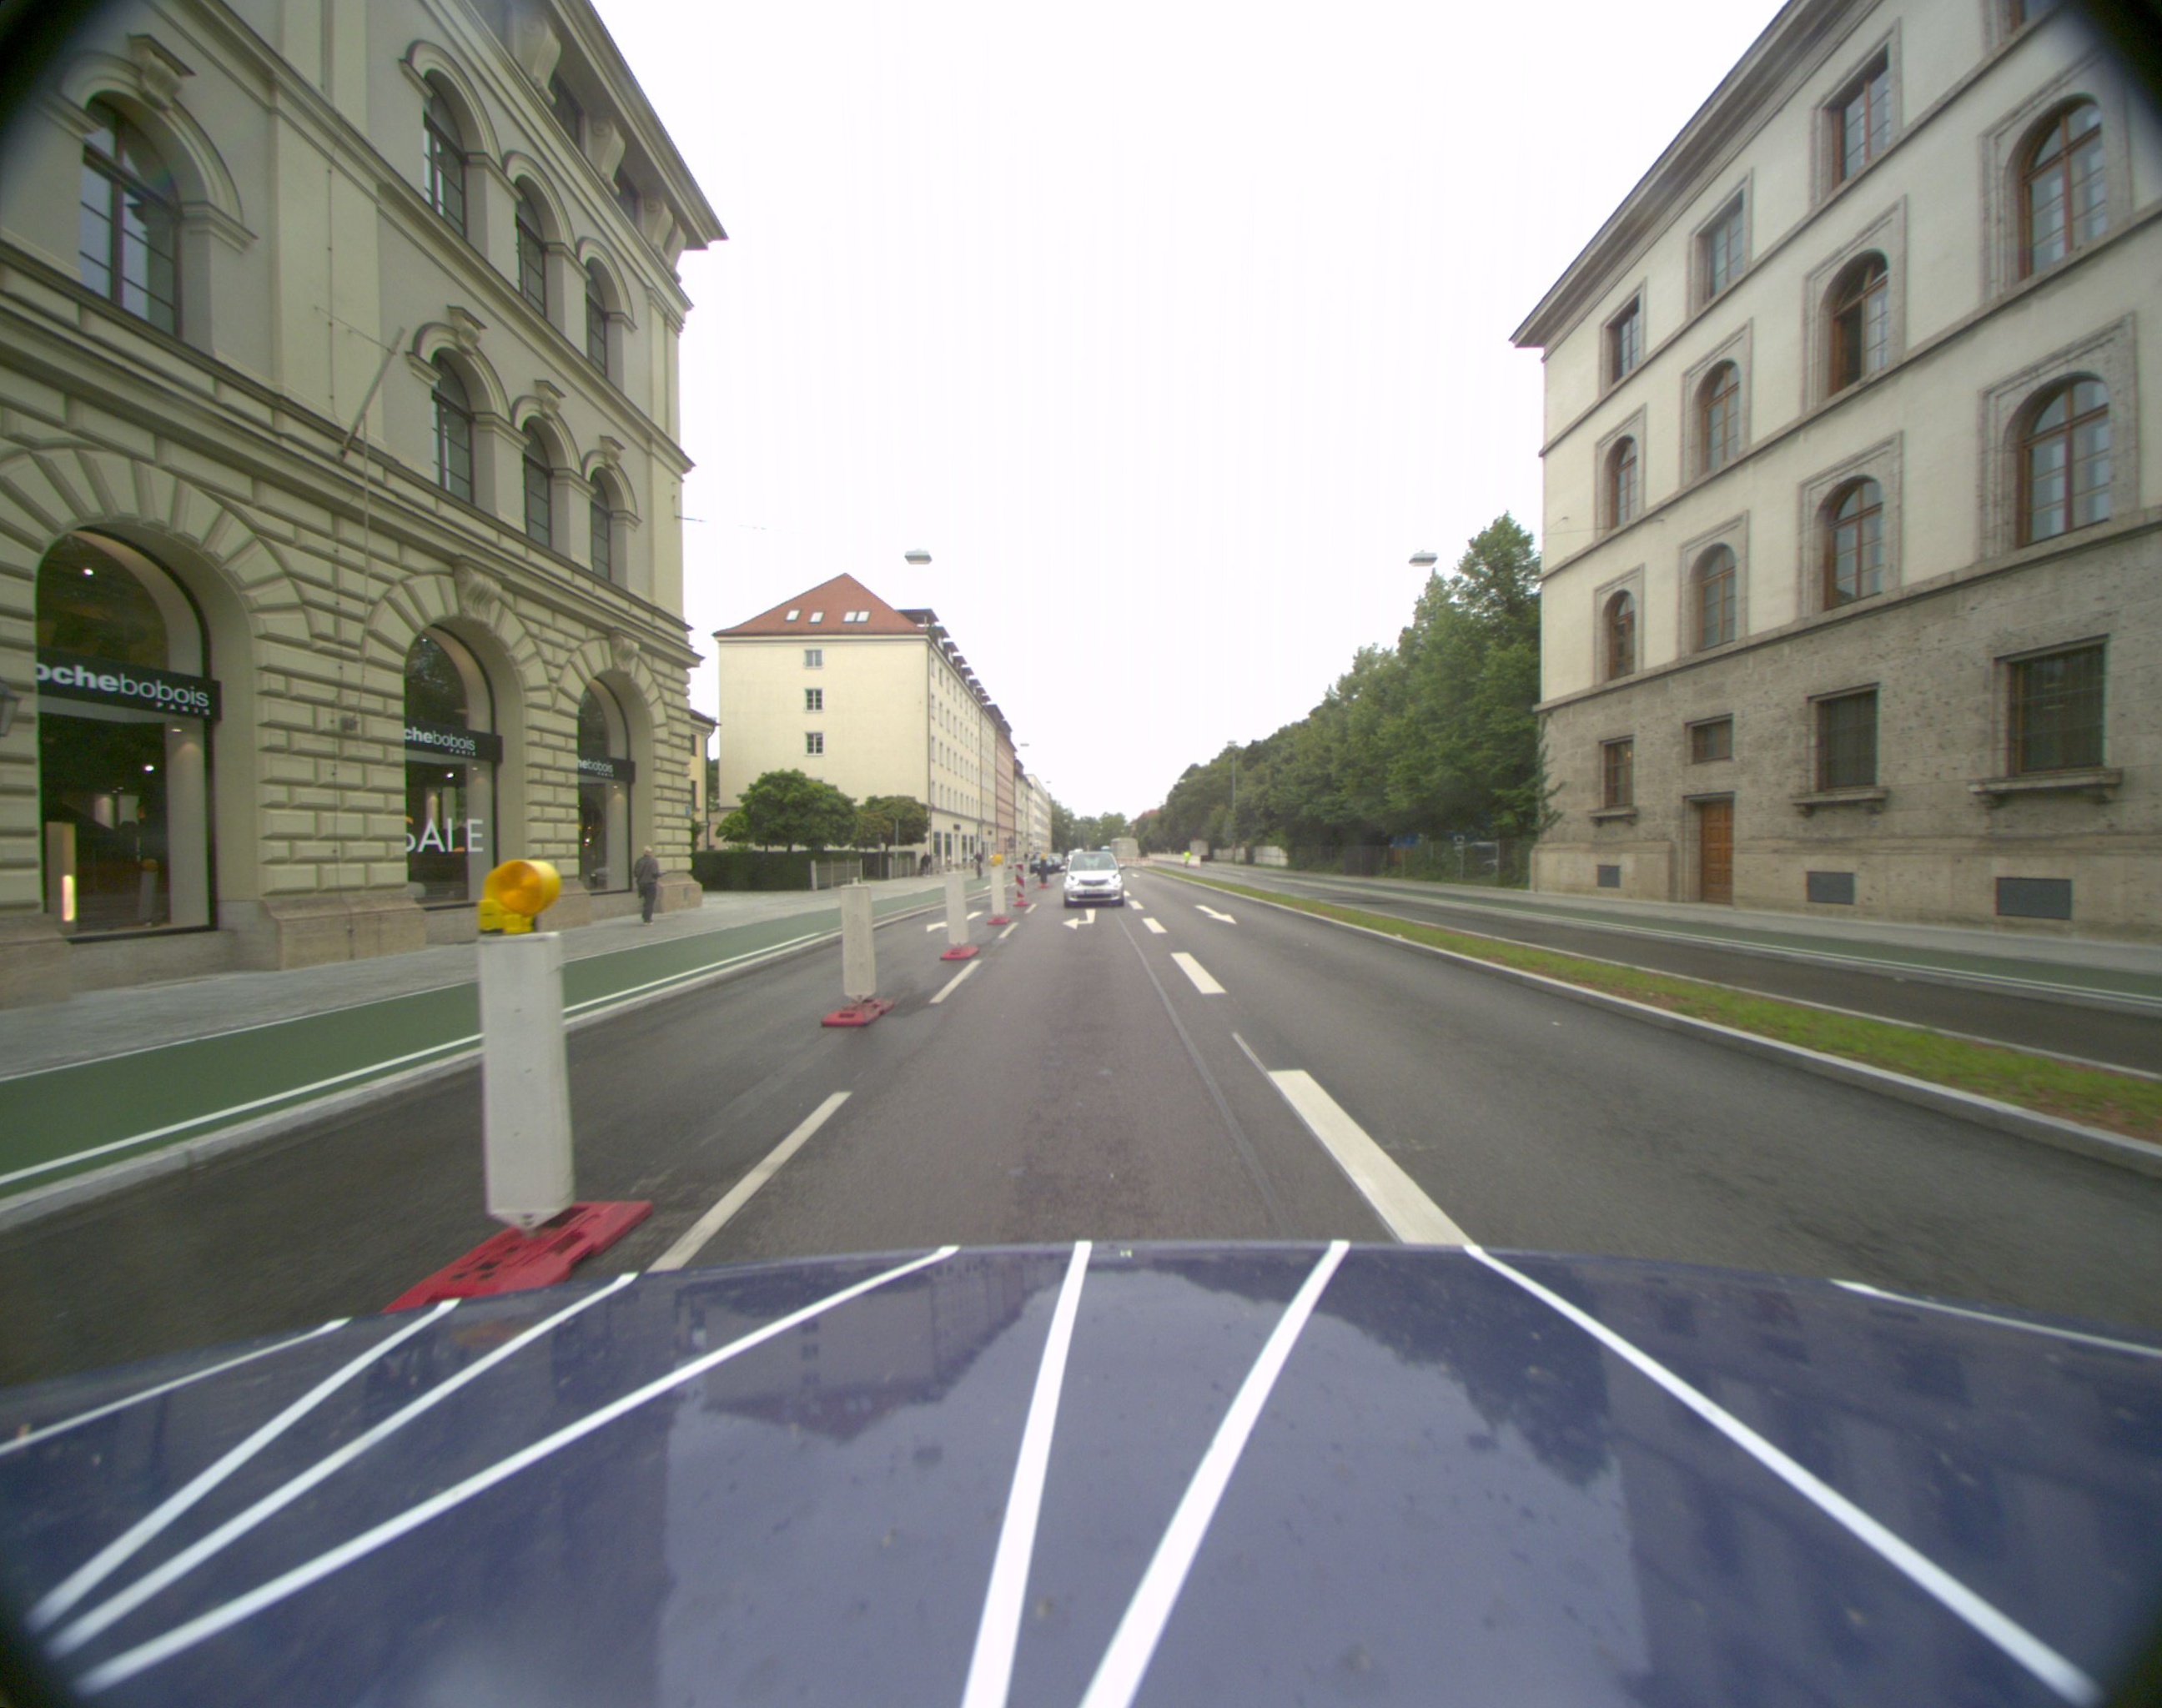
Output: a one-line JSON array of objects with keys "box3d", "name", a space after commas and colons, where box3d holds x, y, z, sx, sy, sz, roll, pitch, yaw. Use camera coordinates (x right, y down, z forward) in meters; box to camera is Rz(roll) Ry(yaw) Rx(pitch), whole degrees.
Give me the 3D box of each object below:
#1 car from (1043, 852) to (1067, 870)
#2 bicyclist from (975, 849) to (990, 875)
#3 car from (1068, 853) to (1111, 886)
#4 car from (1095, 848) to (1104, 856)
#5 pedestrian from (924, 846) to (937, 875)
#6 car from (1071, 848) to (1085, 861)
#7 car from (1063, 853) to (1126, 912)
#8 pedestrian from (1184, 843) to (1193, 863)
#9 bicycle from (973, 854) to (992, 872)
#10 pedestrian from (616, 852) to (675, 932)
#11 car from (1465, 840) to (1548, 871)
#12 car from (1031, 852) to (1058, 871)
[{"box3d": [-2.112, 0.543, 62.047, 1.739, 1.425, 4.000, -1, 0, 1], "name": "car"}, {"box3d": [-6.004, 0.495, 46.340, 0.724, 1.543, 0.858, -2, 1, 0], "name": "bicyclist"}, {"box3d": [0.416, 0.715, 37.749, 1.922, 1.433, 4.306, -2, 1, 0], "name": "car"}, {"box3d": [3.539, -0.417, 147.705, 1.739, 1.425, 4.000, -1, 0, 1], "name": "car"}, {"box3d": [-9.652, 0.411, 48.742, 0.655, 1.863, 0.826, 1, 1, 1], "name": "pedestrian"}, {"box3d": [-0.416, 0.049, 114.640, 1.998, 2.002, 4.000, 0, 1, 1], "name": "car"}, {"box3d": [0.375, 0.752, 21.905, 1.633, 1.495, 4.000, -1, 0, 1], "name": "car"}, {"box3d": [10.854, -0.069, 76.919, 0.757, 2.002, 0.867, -2, 1, 1], "name": "pedestrian"}, {"box3d": [-6.002, 0.546, 46.380, 0.751, 1.026, 2.530, -2, 1, 0], "name": "bicycle"}, {"box3d": [-9.491, 0.796, 16.598, 0.634, 1.695, 1.085, 0, 1, 0], "name": "pedestrian"}, {"box3d": [25.802, 0.076, 46.184, 4.036, 1.700, 1.875, -2, 3, 4], "name": "car"}, {"box3d": [-2.664, 0.546, 56.814, 1.739, 1.313, 4.000, -1, 0, 1], "name": "car"}]
